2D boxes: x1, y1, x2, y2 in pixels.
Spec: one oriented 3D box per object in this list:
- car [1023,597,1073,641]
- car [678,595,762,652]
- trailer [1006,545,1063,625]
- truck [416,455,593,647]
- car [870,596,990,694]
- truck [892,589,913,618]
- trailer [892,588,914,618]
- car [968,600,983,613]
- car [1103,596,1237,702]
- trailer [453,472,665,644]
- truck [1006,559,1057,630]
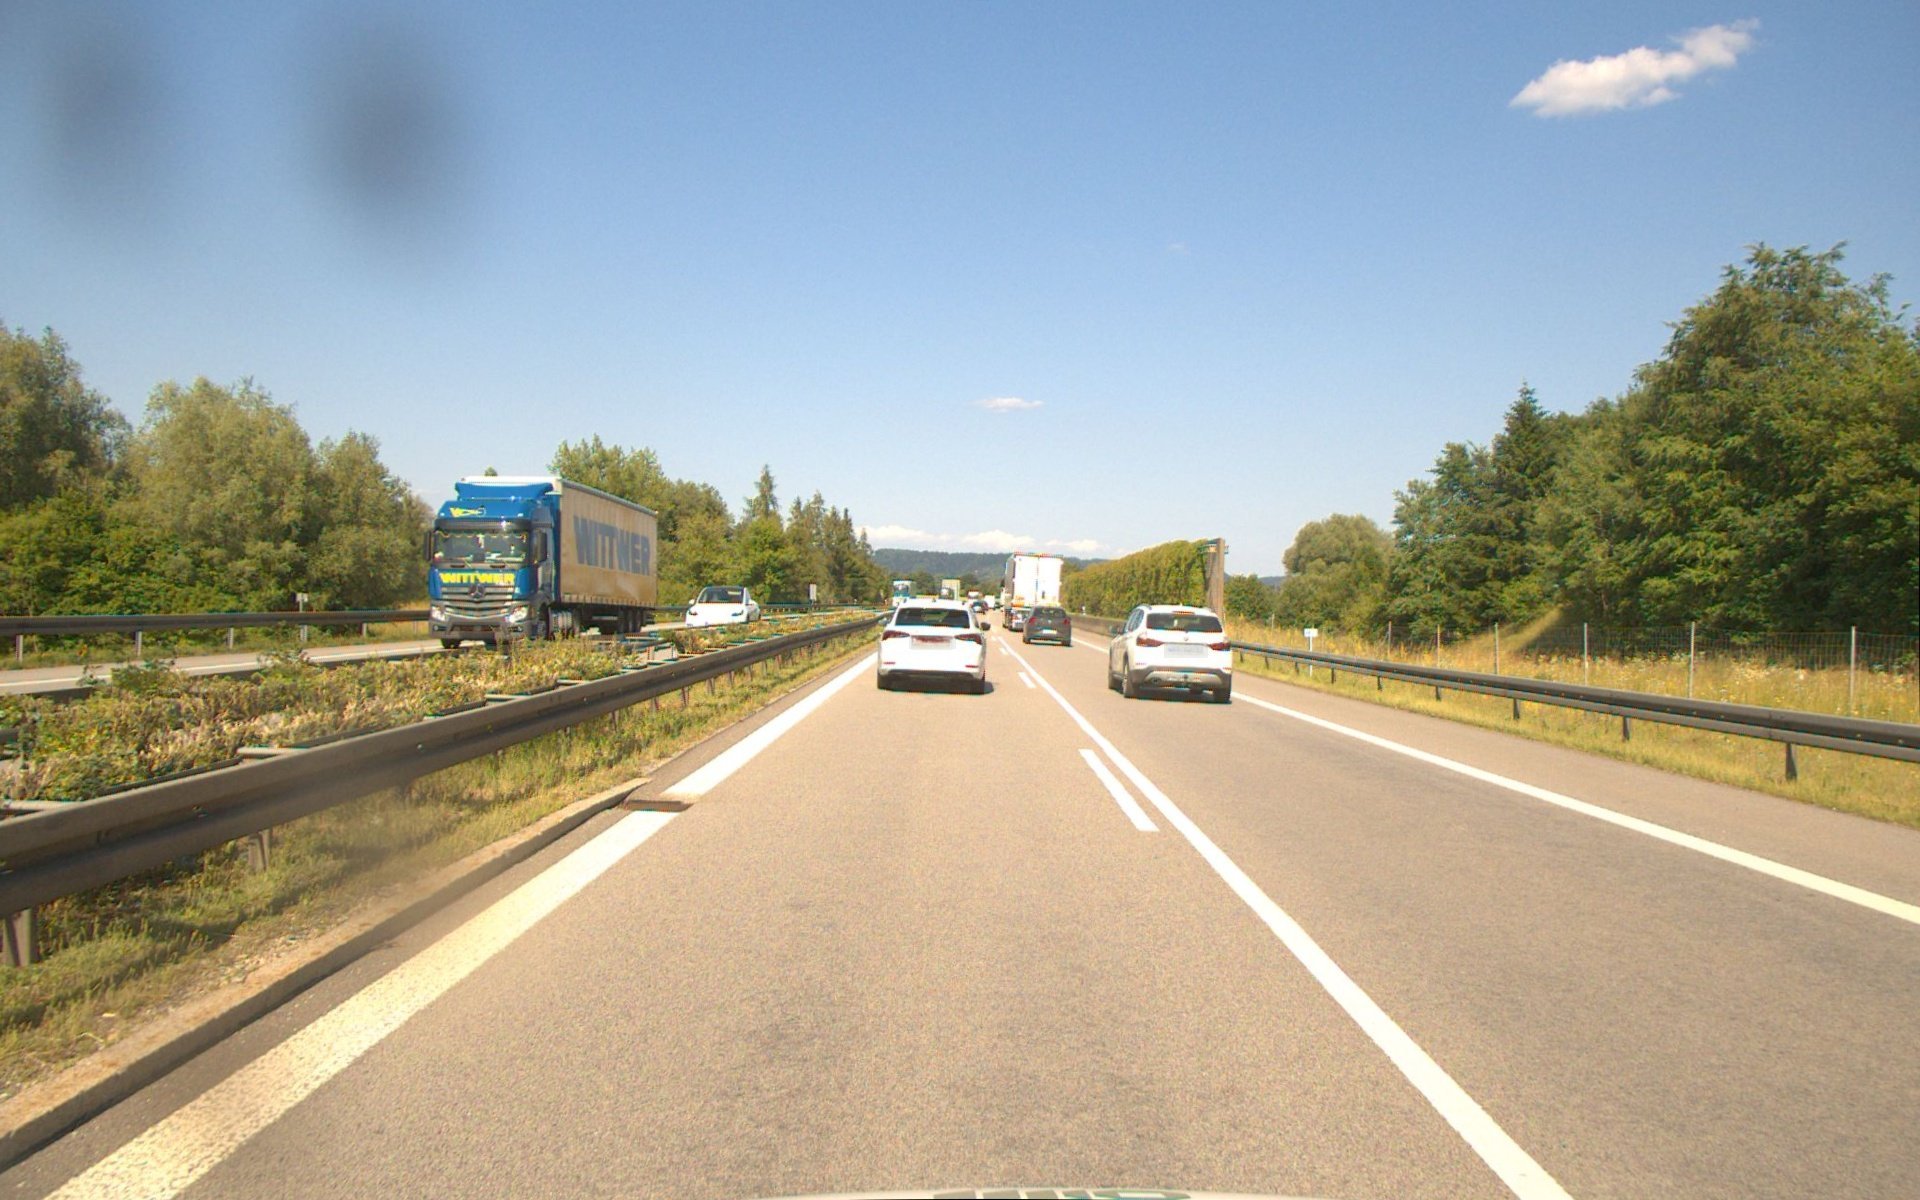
[{"bbox_3d":[3.282,0.698,62.490,1.631,1.480,4.544,3,0,1],"label":"car"},{"bbox_3d":[-7.394,0.701,51.304,1.953,1.694,4.633,0,0,-1],"label":"car"},{"bbox_3d":[4.051,-0.793,92.141,2.760,4.036,14.162,1,0,1],"label":"trailer"},{"bbox_3d":[-11.221,-1.135,41.379,2.684,4.378,6.333,1,0,-1],"label":"truck"},{"bbox_3d":[-0.437,0.687,28.023,1.802,1.446,5.255,2,0,1],"label":"car"},{"bbox_3d":[-8.231,0.463,236.413,2.589,4.078,7.193,1,0,1],"label":"truck"},{"bbox_3d":[-8.245,0.421,239.871,2.606,4.078,14.088,1,0,0],"label":"trailer"},{"bbox_3d":[1.796,0.777,194.393,1.735,1.446,4.495,3,0,0],"label":"car"},{"bbox_3d":[3.553,0.776,28.783,1.650,1.522,4.987,3,1,0],"label":"car"},{"bbox_3d":[-11.263,-1.058,48.361,2.731,4.233,14.392,1,0,0],"label":"trailer"},{"bbox_3d":[4.211,-0.343,98.853,2.782,4.036,7.044,1,0,1],"label":"truck"}]
